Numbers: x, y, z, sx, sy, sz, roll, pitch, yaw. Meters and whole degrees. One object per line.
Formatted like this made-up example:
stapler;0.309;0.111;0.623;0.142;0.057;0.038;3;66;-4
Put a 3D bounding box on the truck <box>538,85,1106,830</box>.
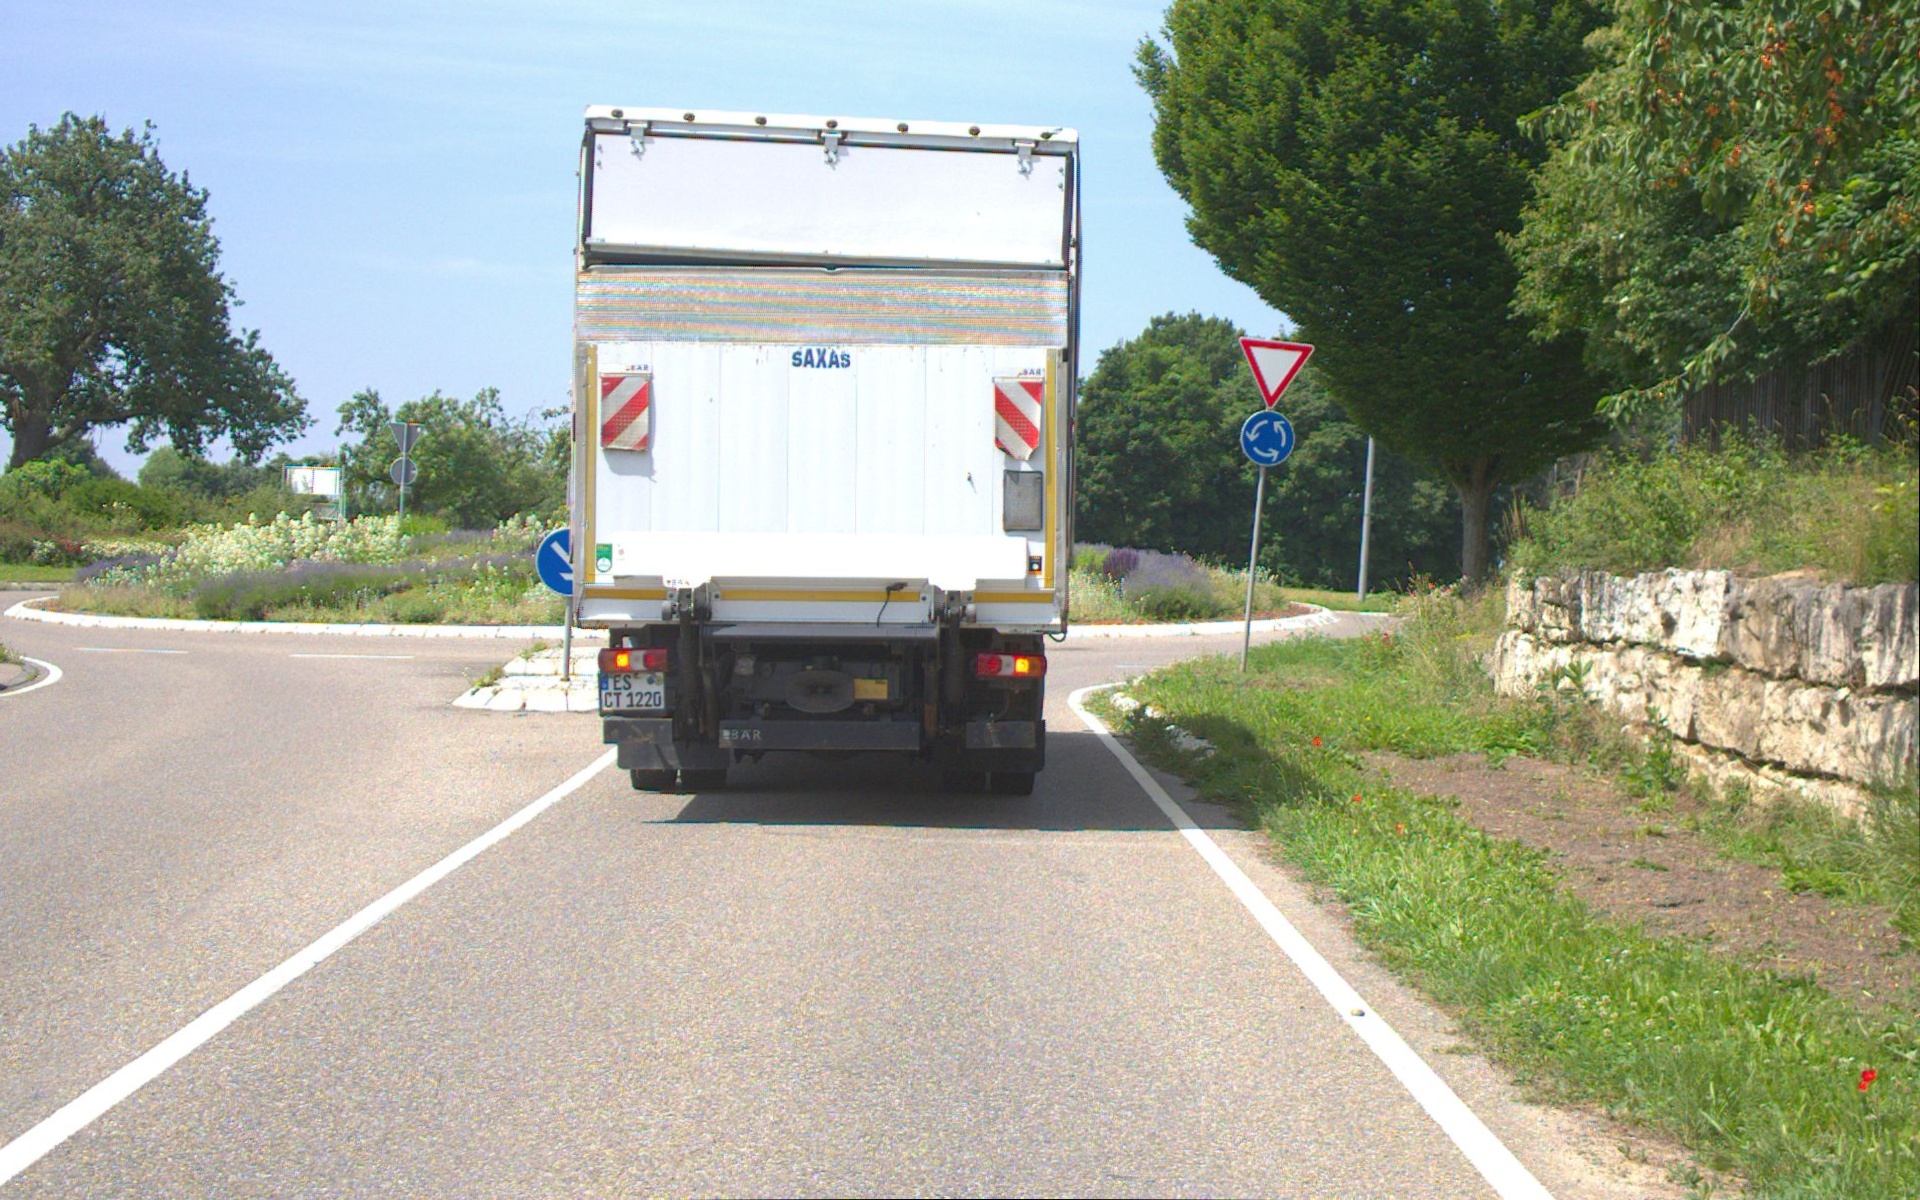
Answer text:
truck;-0.842;-0.778;21.818;2.766;3.658;9.383;1;1;-2
